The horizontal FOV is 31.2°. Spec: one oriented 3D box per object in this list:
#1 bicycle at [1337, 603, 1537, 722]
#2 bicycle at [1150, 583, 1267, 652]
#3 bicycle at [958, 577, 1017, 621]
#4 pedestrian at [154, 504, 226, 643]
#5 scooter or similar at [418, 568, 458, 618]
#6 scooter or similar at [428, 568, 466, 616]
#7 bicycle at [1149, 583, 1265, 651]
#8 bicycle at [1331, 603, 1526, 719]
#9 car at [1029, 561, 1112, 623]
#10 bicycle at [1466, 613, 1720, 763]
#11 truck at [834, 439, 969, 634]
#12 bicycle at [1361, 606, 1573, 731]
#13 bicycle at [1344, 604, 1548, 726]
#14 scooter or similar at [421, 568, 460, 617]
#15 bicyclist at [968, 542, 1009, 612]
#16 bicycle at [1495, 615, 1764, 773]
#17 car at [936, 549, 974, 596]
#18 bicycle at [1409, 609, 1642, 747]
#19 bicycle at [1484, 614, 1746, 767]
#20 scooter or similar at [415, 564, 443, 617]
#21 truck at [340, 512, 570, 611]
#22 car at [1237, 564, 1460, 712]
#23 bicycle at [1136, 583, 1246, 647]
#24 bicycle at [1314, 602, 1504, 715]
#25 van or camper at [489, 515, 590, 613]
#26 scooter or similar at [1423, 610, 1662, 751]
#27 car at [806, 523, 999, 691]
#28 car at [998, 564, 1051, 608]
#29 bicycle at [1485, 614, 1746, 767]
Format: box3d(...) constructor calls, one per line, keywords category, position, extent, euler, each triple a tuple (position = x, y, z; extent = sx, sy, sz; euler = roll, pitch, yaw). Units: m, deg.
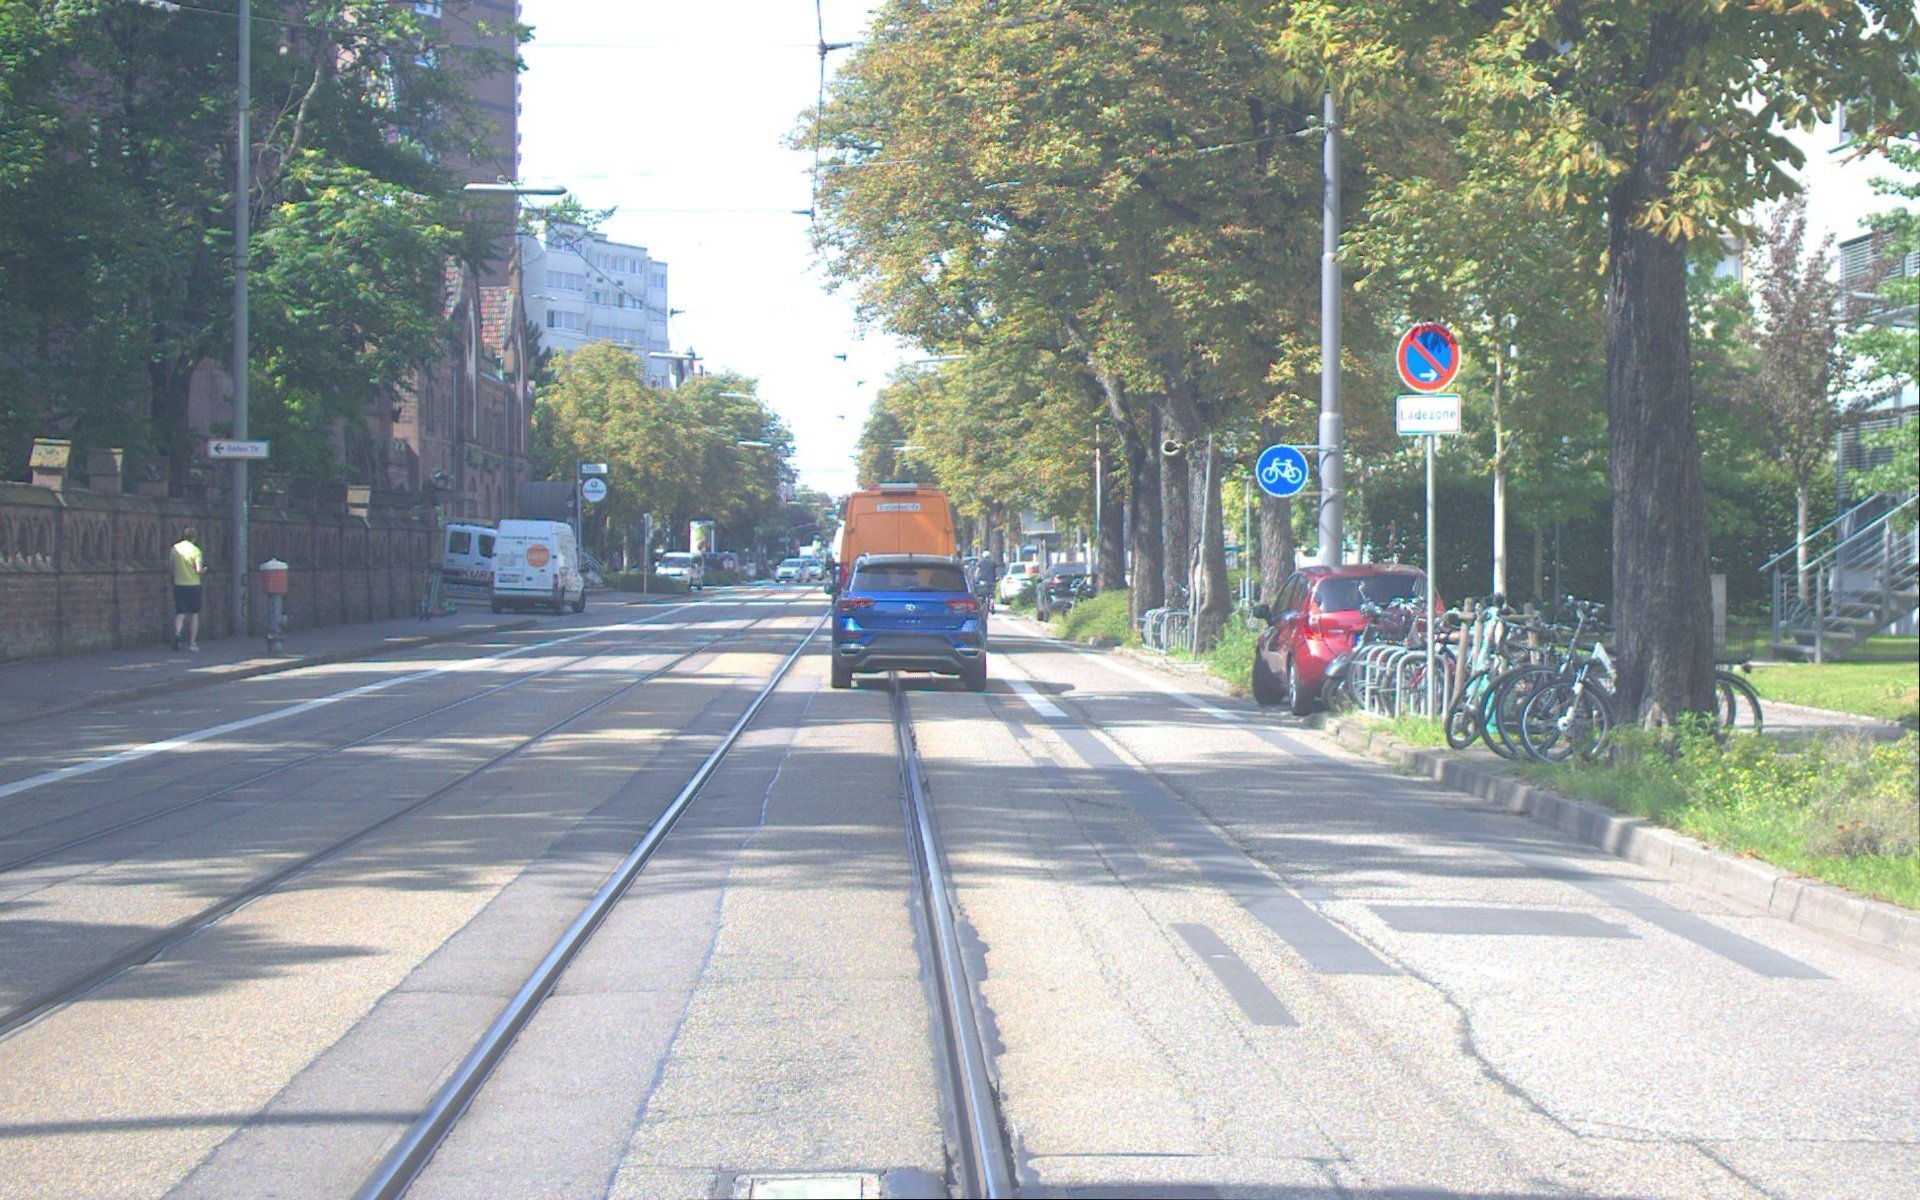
box3d(category="bicycle", position=(4.458, 0.580, 32.175), extent=(1.771, 1.068, 0.541), euler=(-1, 1, -2))
box3d(category="bicycle", position=(3.886, 0.274, 53.883), extent=(1.771, 1.046, 0.541), euler=(-1, 1, -2))
box3d(category="bicycle", position=(0.707, -0.035, 90.312), extent=(1.401, 1.130, 4.000), euler=(0, 0, -1))
box3d(category="pedestrian", position=(-11.255, -0.387, 50.292), extent=(0.864, 2.007, 0.983), euler=(1, 0, -3))
box3d(category="scooter or similar", position=(-12.346, -0.177, 81.332), extent=(0.340, 1.174, 1.176), euler=(1, 0, 24))
box3d(category="scooter or similar", position=(-12.477, -0.198, 83.636), extent=(0.340, 1.174, 1.176), euler=(1, 0, 24))
box3d(category="bicycle", position=(3.913, 0.269, 54.561), extent=(1.771, 1.046, 0.541), euler=(-1, 1, -2))
box3d(category="bicycle", position=(4.467, 0.574, 32.850), extent=(1.771, 1.068, 0.541), euler=(-1, 1, -2))
box3d(category="car", position=(2.815, -0.212, 88.165), extent=(1.755, 1.510, 4.610), euler=(-1, 0, -3))
box3d(category="bicycle", position=(4.680, 0.642, 25.462), extent=(1.771, 1.068, 0.541), euler=(-1, 1, -2))
box3d(category="truck", position=(-1.005, -1.043, 58.284), extent=(2.135, 3.114, 6.085), euler=(0, 0, -1))
box3d(category="bicycle", position=(4.455, 0.597, 30.261), extent=(1.771, 1.068, 0.541), euler=(-1, 1, -2))
box3d(category="bicycle", position=(4.427, 0.587, 31.363), extent=(1.771, 1.068, 0.541), euler=(-1, 1, -2))
box3d(category="scooter or similar", position=(-12.464, -0.188, 82.502), extent=(0.340, 1.174, 1.176), euler=(1, 0, 24))
box3d(category="bicyclist", position=(0.747, -0.611, 90.308), extent=(1.031, 1.806, 1.016), euler=(1, 0, -1))
box3d(category="bicycle", position=(4.698, 0.653, 24.165), extent=(1.771, 1.068, 0.541), euler=(-1, 1, -2))
box3d(category="car", position=(-0.300, -1.617, 203.251), extent=(1.993, 2.746, 5.762), euler=(1, 0, -2))
box3d(category="bicycle", position=(4.545, 0.621, 27.680), extent=(1.771, 1.068, 0.541), euler=(-1, 1, -2))
box3d(category="bicycle", position=(4.727, 0.648, 24.862), extent=(1.771, 1.068, 0.541), euler=(-1, 1, -2))
box3d(category="scooter or similar", position=(-11.907, -0.224, 77.036), extent=(0.420, 1.174, 1.317), euler=(1, 0, -17))
box3d(category="truck", position=(-14.949, -1.170, 101.999), extent=(6.321, 2.529, 2.130), euler=(3, 2, 4))
box3d(category="car", position=(4.036, 0.354, 36.311), extent=(1.755, 1.457, 4.275), euler=(0, 1, -1))
box3d(category="bicycle", position=(3.831, 0.246, 57.040), extent=(1.771, 1.046, 0.541), euler=(-1, 1, -2))
box3d(category="bicycle", position=(4.386, 0.567, 33.623), extent=(1.771, 1.068, 0.541), euler=(-1, 1, -2))
box3d(category="van or camper", position=(-11.848, -1.003, 97.204), extent=(2.113, 2.666, 5.955), euler=(1, 0, 0))
box3d(category="scooter or similar", position=(4.580, 0.626, 27.093), extent=(1.771, 1.068, 0.541), euler=(-1, 1, -2))
box3d(category="car", position=(-0.698, 0.057, 40.975), extent=(2.135, 1.852, 5.568), euler=(0, 0, -1))
box3d(category="car", position=(2.215, -0.473, 119.042), extent=(1.659, 1.476, 4.217), euler=(0, 0, -1))
box3d(category="bicycle", position=(4.737, 0.647, 24.884), extent=(1.771, 1.068, 0.541), euler=(-1, 1, -2))
